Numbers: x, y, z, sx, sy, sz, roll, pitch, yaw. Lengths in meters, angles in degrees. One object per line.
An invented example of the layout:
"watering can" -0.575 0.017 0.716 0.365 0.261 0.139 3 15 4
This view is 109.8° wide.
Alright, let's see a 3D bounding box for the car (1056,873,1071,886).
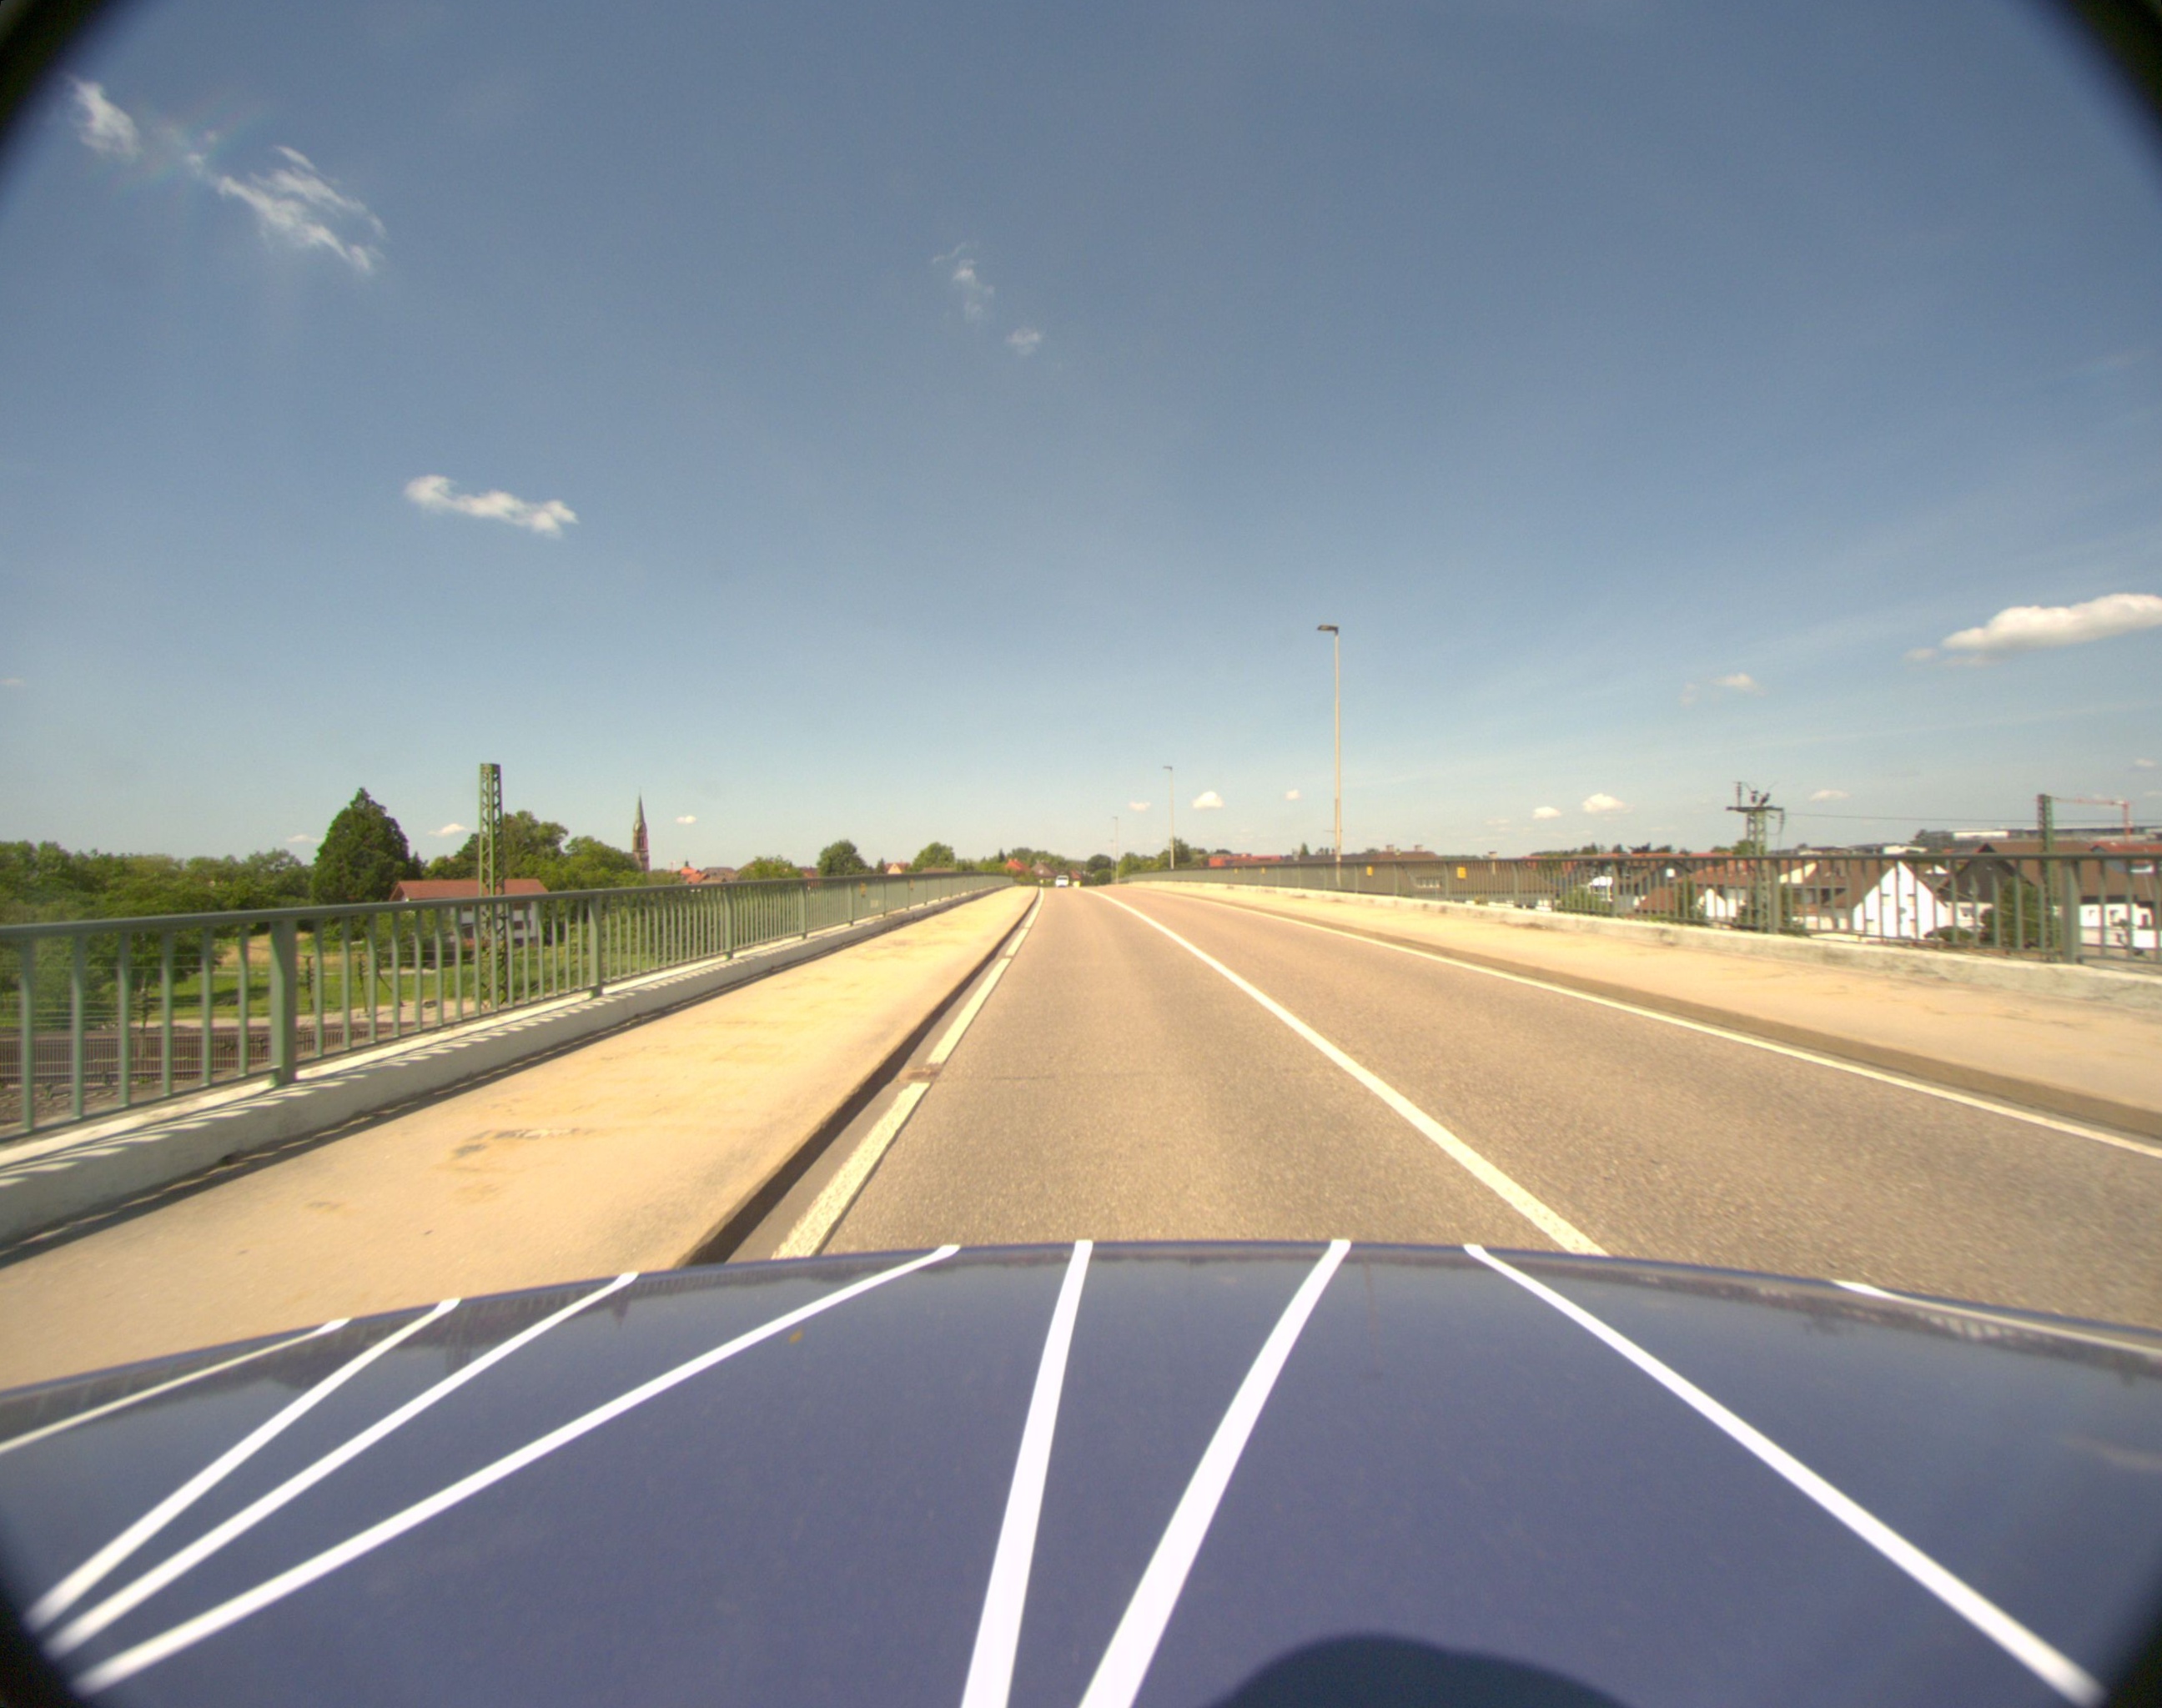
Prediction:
"car" -2.510 3.644 110.086 2.093 1.750 4.282 -2 0 -1
